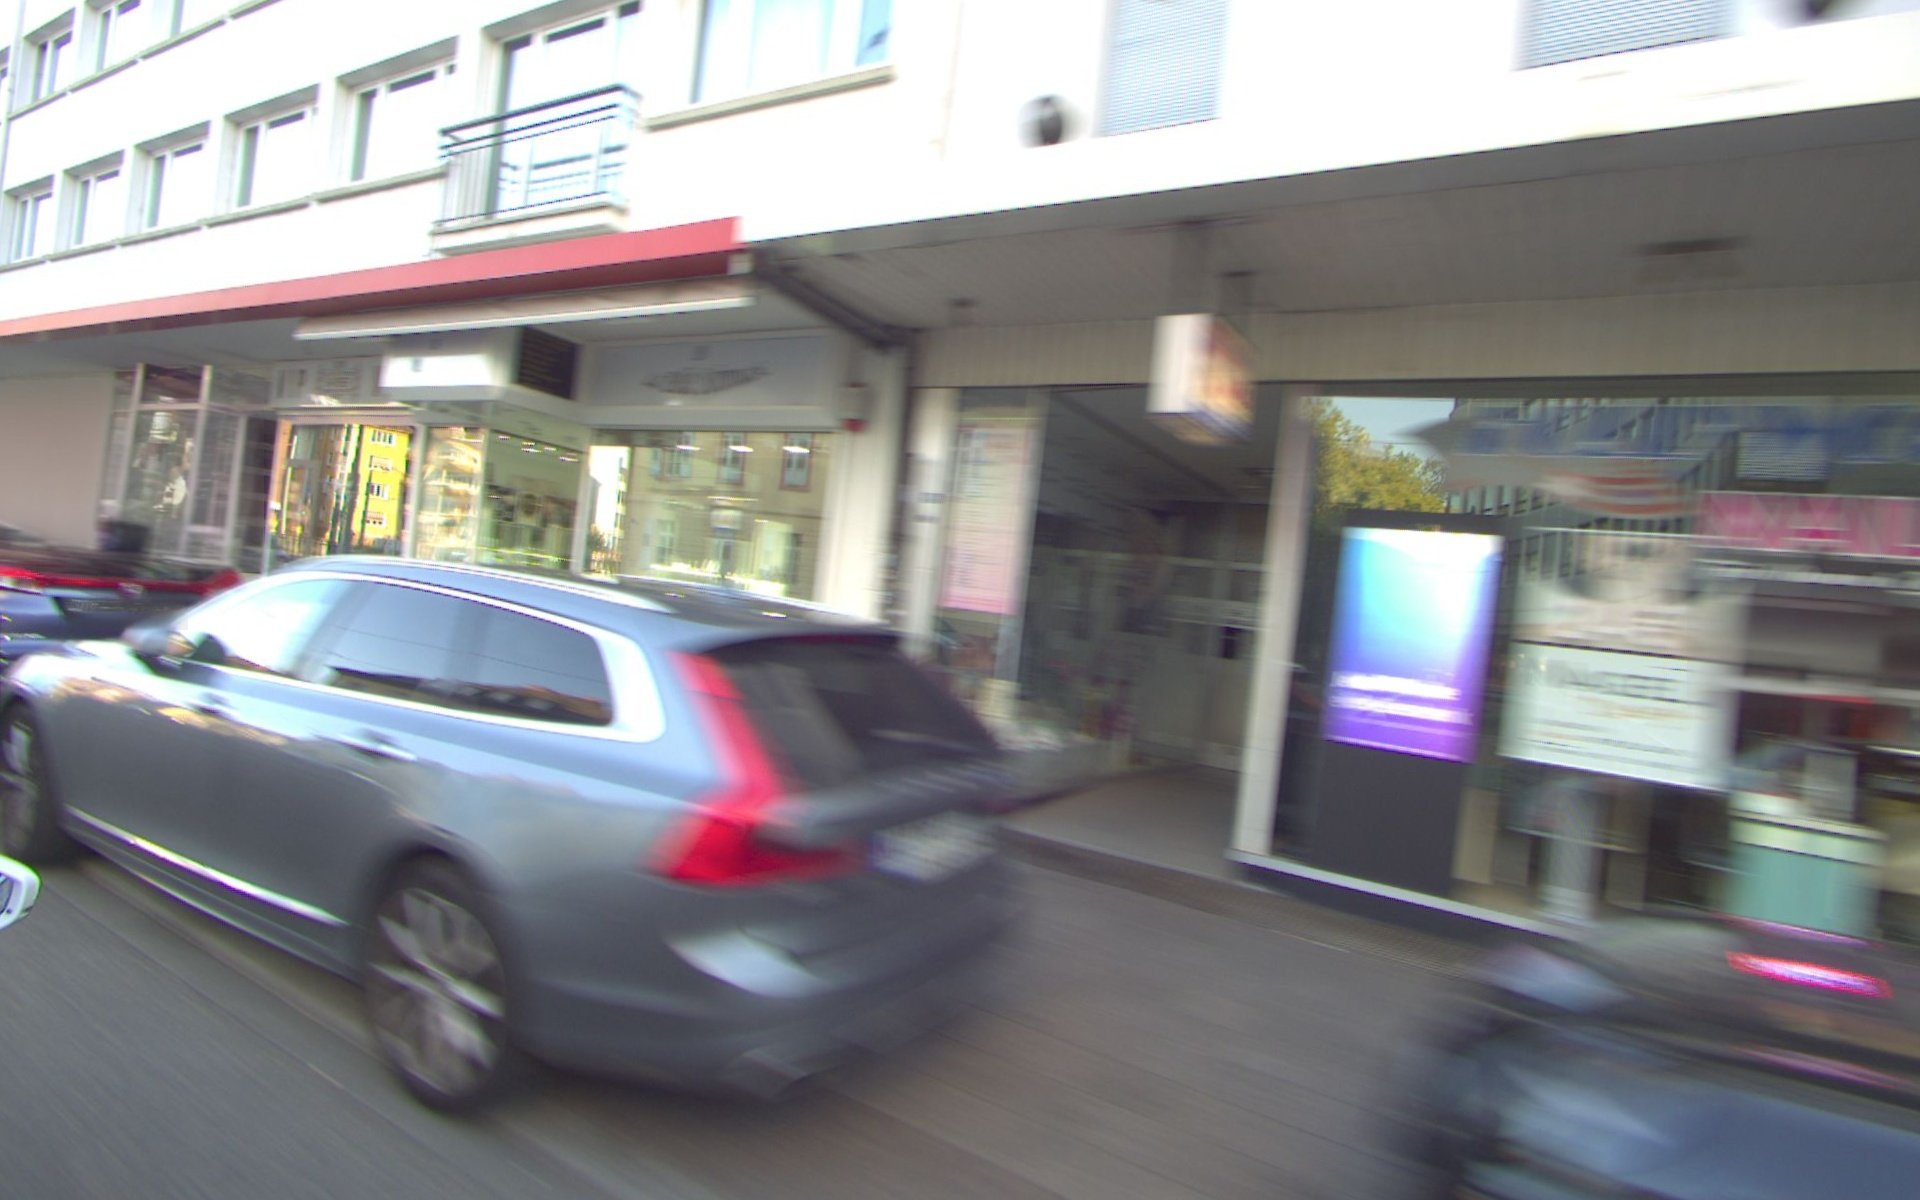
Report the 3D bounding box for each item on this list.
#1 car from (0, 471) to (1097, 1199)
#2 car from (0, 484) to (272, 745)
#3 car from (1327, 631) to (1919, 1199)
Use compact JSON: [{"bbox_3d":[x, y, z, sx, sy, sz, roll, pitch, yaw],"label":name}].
[{"bbox_3d":[-2.018,0.464,4.007,4.632,1.531,1.792,7,1,30],"label":"car"},{"bbox_3d":[-7.138,-0.086,7.470,4.232,1.531,1.736,7,1,32],"label":"car"},{"bbox_3d":[2.788,1.062,1.455,3.968,1.531,1.687,7,1,32],"label":"car"}]
